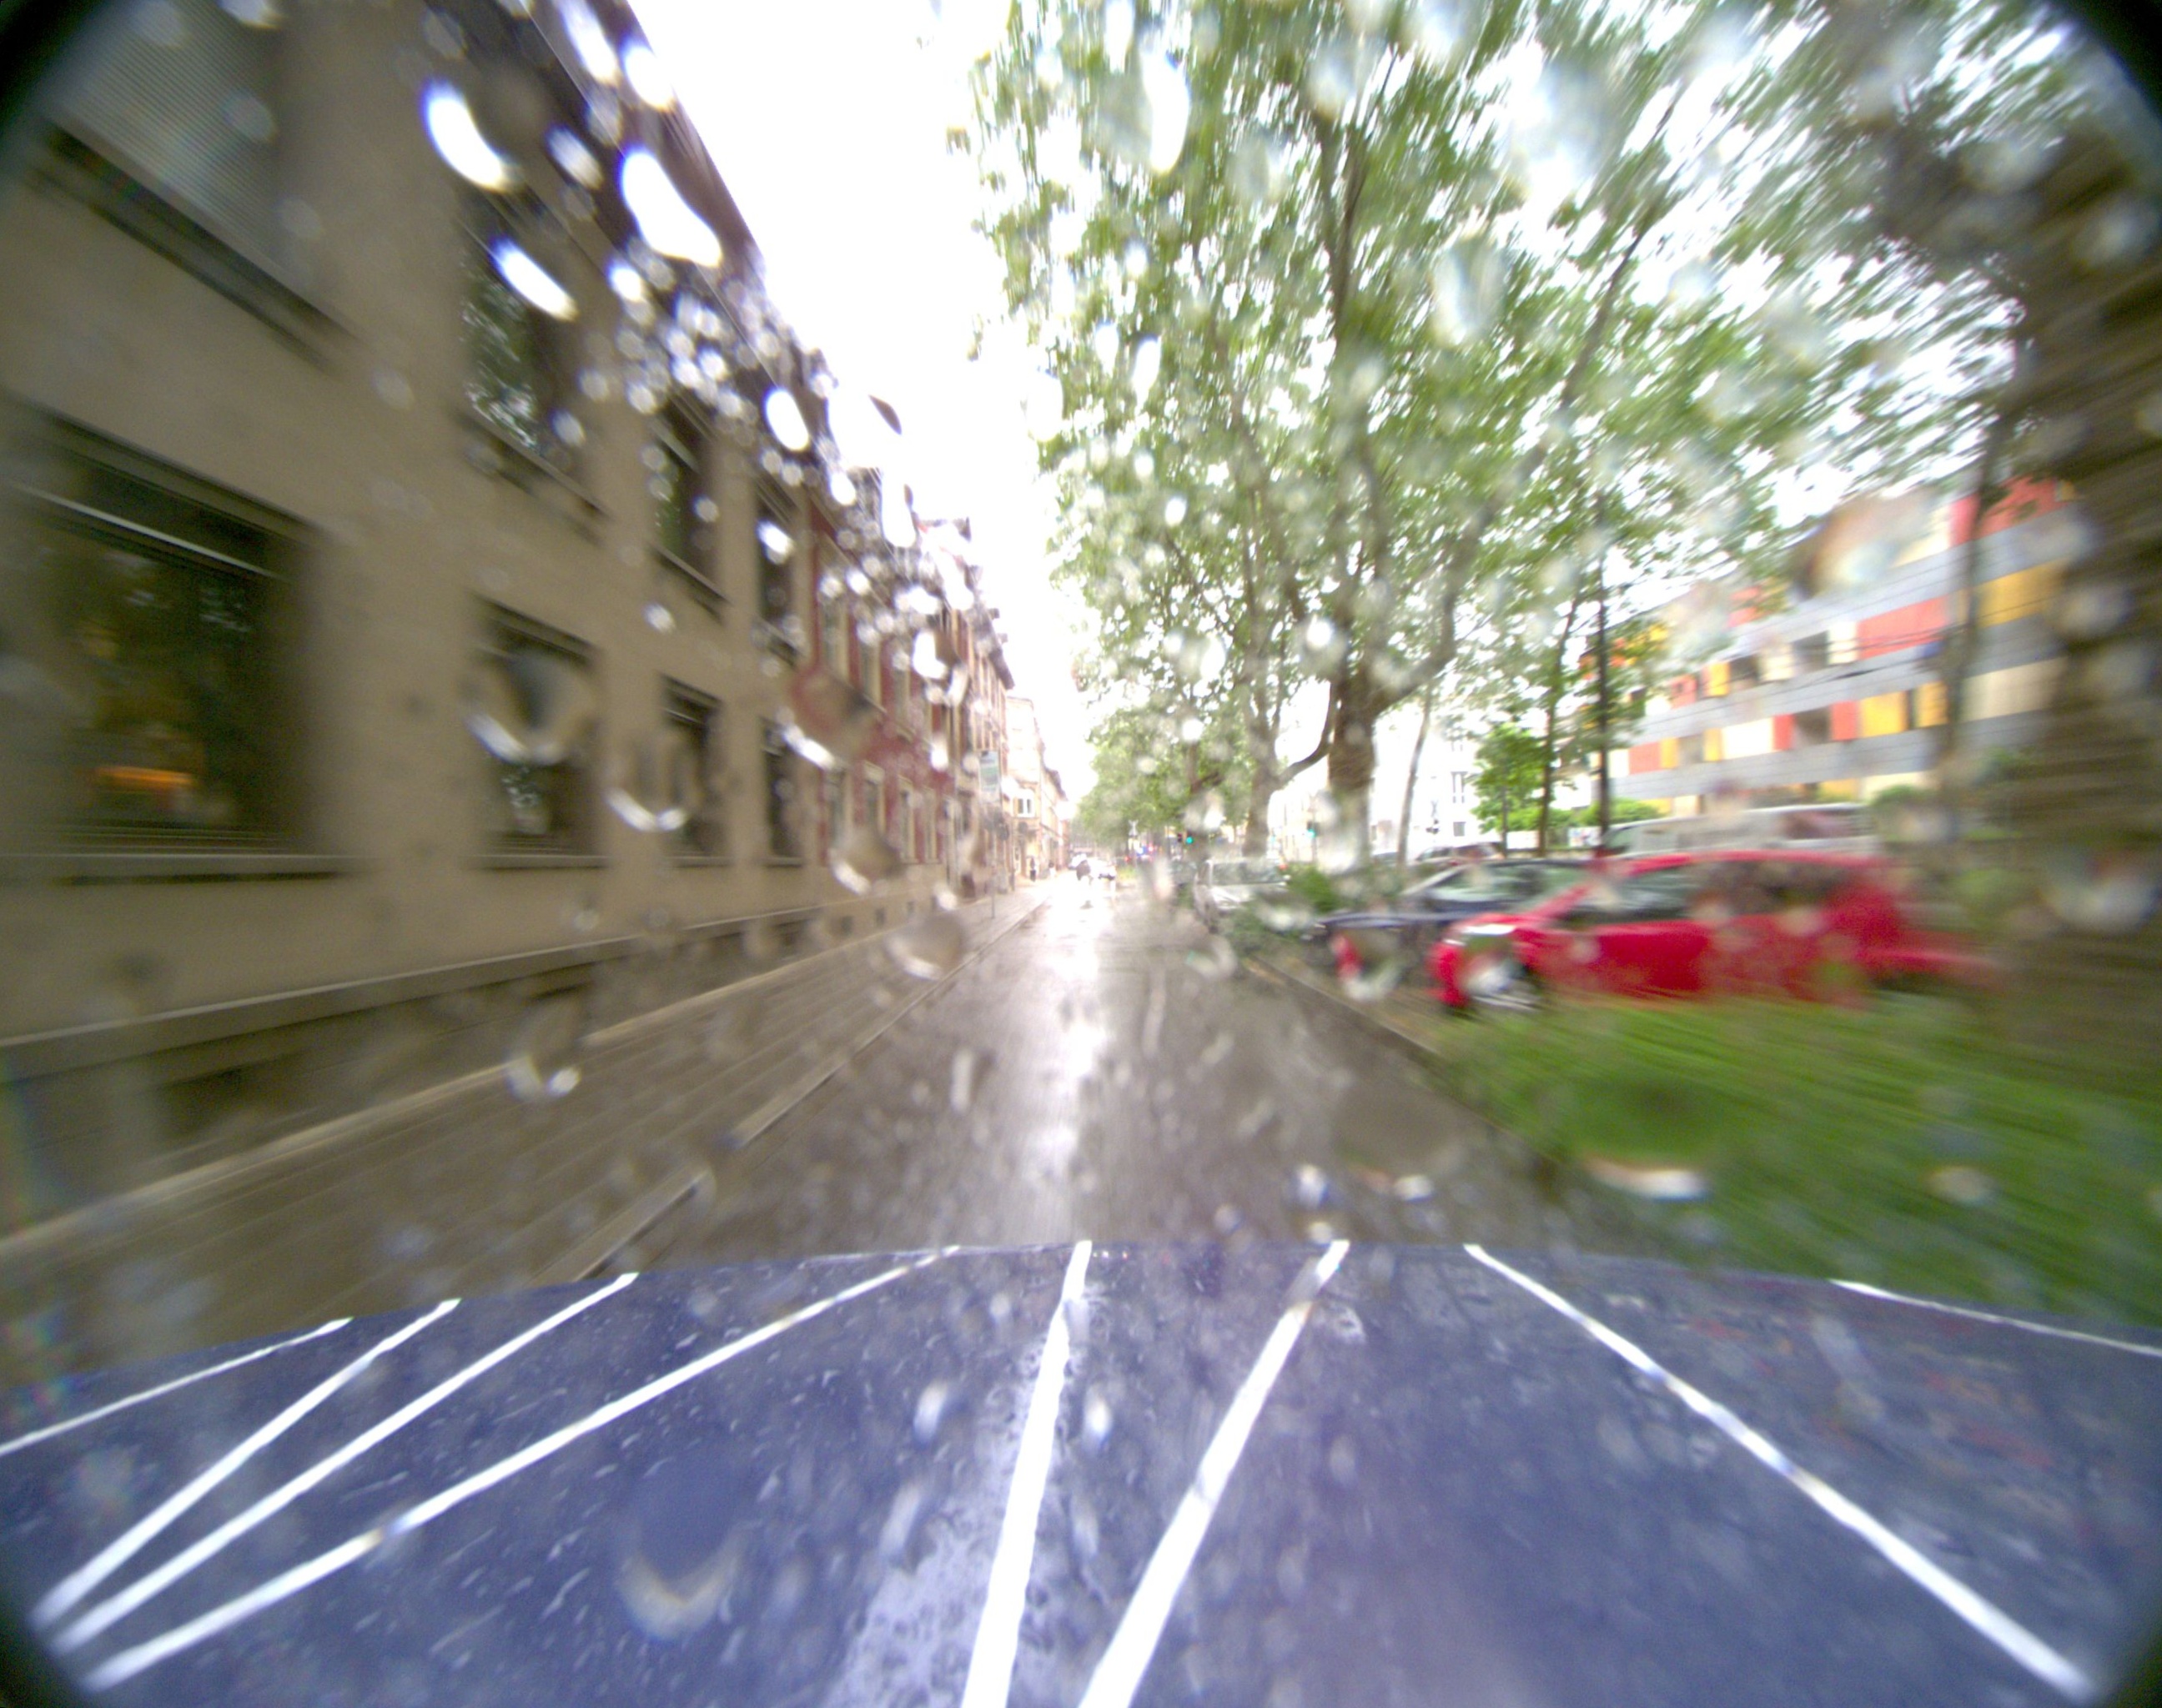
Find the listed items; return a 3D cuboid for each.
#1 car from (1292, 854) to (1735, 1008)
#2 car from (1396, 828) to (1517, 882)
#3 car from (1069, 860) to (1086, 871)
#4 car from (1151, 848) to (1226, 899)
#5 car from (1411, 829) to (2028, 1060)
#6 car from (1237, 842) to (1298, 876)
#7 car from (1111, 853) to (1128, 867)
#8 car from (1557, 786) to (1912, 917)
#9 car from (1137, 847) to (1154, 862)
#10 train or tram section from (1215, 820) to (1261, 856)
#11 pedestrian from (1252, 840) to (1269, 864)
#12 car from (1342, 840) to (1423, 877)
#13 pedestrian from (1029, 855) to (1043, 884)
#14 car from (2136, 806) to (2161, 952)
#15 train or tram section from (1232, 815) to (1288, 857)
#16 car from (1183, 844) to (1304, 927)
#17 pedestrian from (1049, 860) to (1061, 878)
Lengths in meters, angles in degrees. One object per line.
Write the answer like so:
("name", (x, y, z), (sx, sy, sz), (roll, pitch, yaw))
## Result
("car", (4.675, 0.754, 8.780), (4.036, 1.426, 1.785), (-1, 0, 26))
("car", (12.461, 0.036, 25.588), (1.909, 1.591, 4.468), (-2, 0, 1))
("car", (-0.468, 1.650, 108.136), (1.976, 1.359, 4.162), (3, 0, 3))
("car", (3.549, 0.623, 25.891), (1.901, 1.476, 4.622), (-3, 0, 1))
("car", (4.729, 0.588, 6.306), (3.494, 1.427, 1.785), (-1, 0, 28))
("car", (8.697, 0.215, 35.814), (1.838, 1.412, 4.000), (-3, 0, 0))
("car", (4.415, 0.716, 86.959), (1.732, 1.473, 4.006), (-2, 0, 1))
("car", (12.221, -0.019, 14.932), (2.059, 1.985, 5.433), (-4, 0, -3))
("car", (8.503, 0.076, 101.121), (1.937, 1.838, 4.067), (-2, 0, 1))
("train or tram section", (17.668, -1.700, 86.168), (2.907, 3.621, 11.552), (-3, 0, 1))
("pedestrian", (13.632, -0.169, 57.689), (0.938, 1.789, 1.206), (-2, 1, 1))
("car", (13.063, 0.204, 33.217), (1.908, 1.455, 4.389), (-2, 0, 2))
("pedestrian", (-3.016, 1.043, 50.781), (0.787, 1.902, 0.929), (2, 1, 1))
("car", (12.305, 0.216, 6.051), (1.909, 1.525, 4.216), (-2, 0, 0))
("train or tram section", (17.397, -1.661, 74.611), (2.907, 3.621, 11.552), (-3, 0, 1))
("car", (3.367, 0.612, 16.564), (1.733, 1.505, 4.208), (-3, 0, 1))
("pedestrian", (-2.241, 1.282, 65.718), (0.849, 1.564, 0.576), (3, 0, 1))
